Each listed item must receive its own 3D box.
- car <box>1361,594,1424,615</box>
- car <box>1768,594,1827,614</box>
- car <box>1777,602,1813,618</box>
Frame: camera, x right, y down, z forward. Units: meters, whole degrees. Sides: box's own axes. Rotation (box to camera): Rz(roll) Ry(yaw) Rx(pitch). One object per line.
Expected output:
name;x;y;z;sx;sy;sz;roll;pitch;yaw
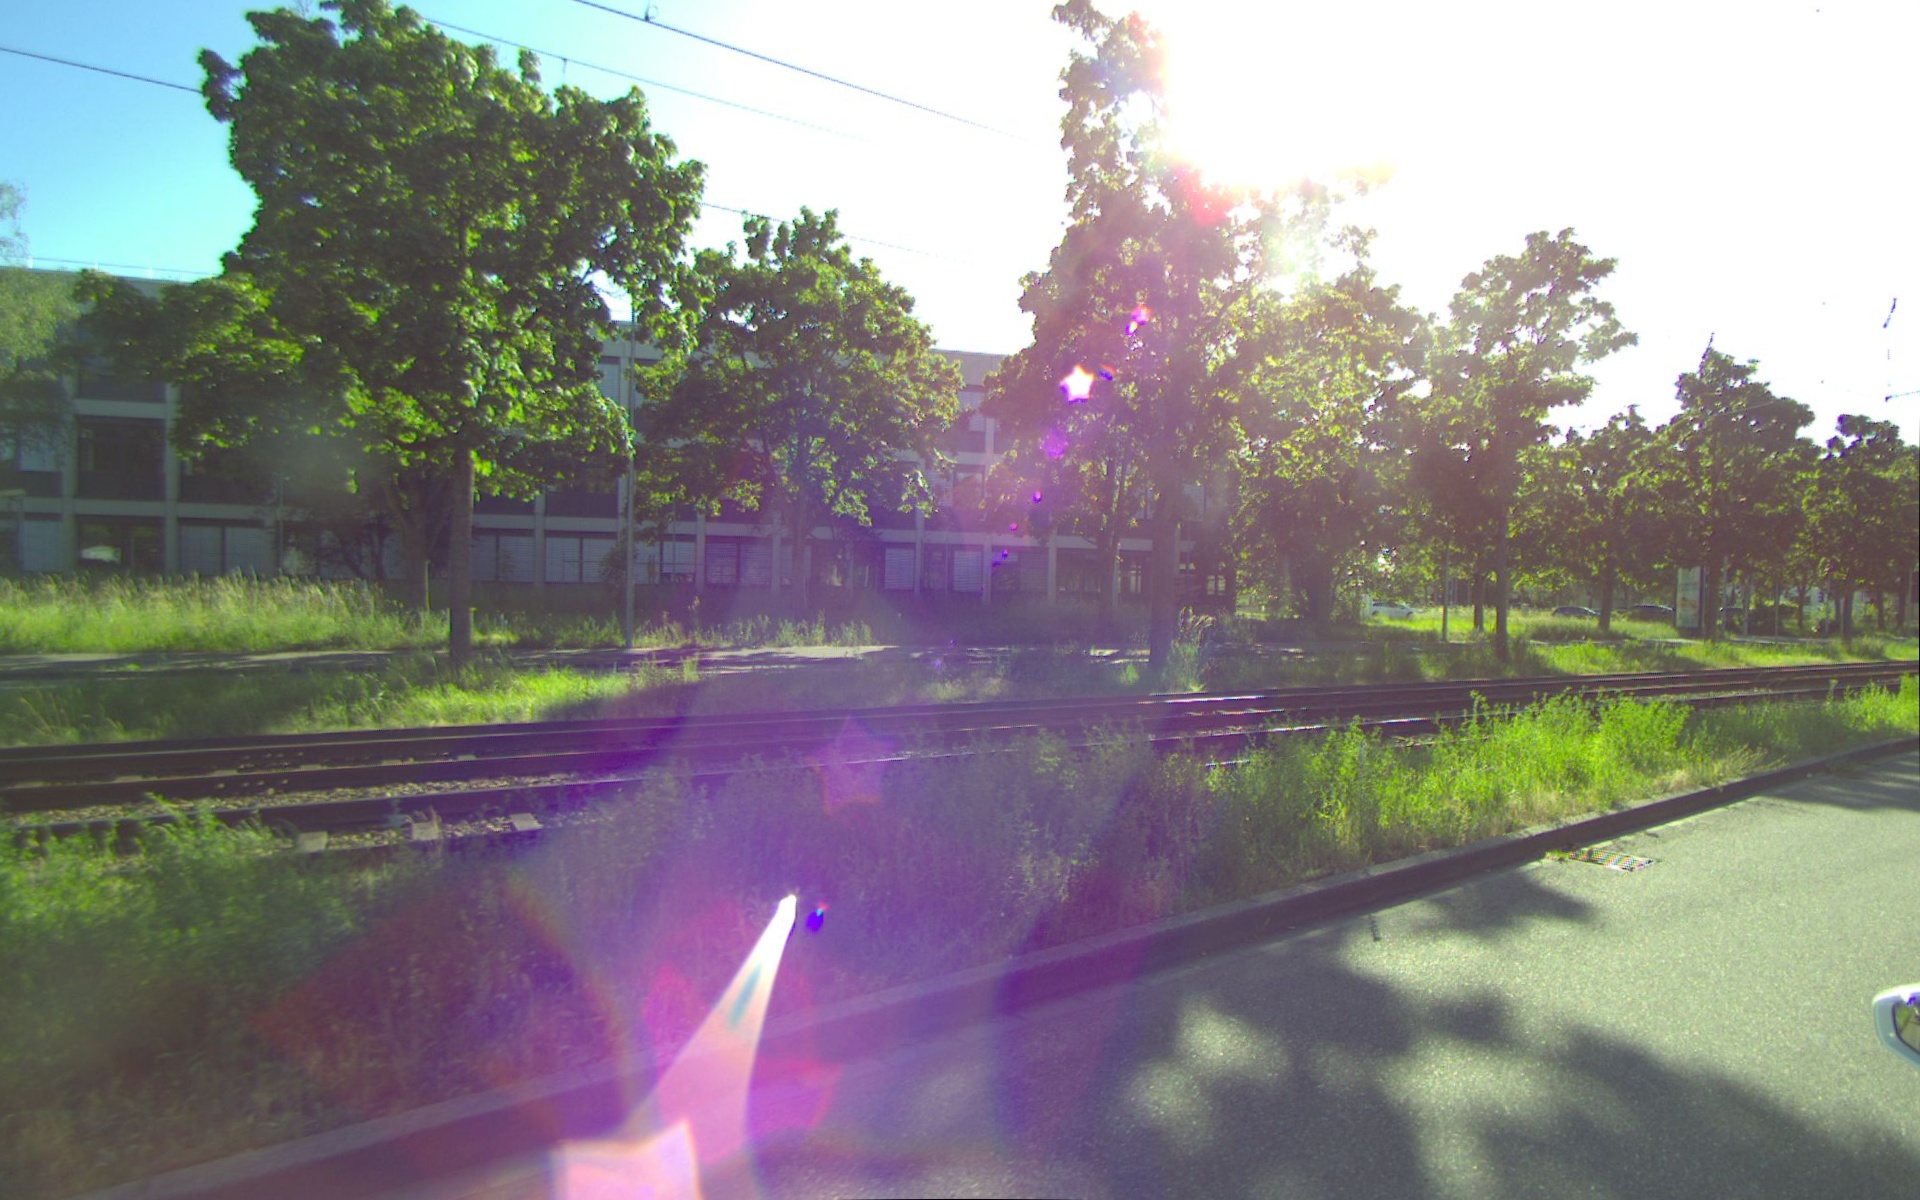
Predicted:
car;35.046;0.355;81.502;4.359;1.662;1.983;1;1;36
car;92.751;0.427;111.280;2.000;2.119;4.692;0;1;-34
car;87.679;1.089;105.433;4.040;1.565;1.570;1;1;-30
